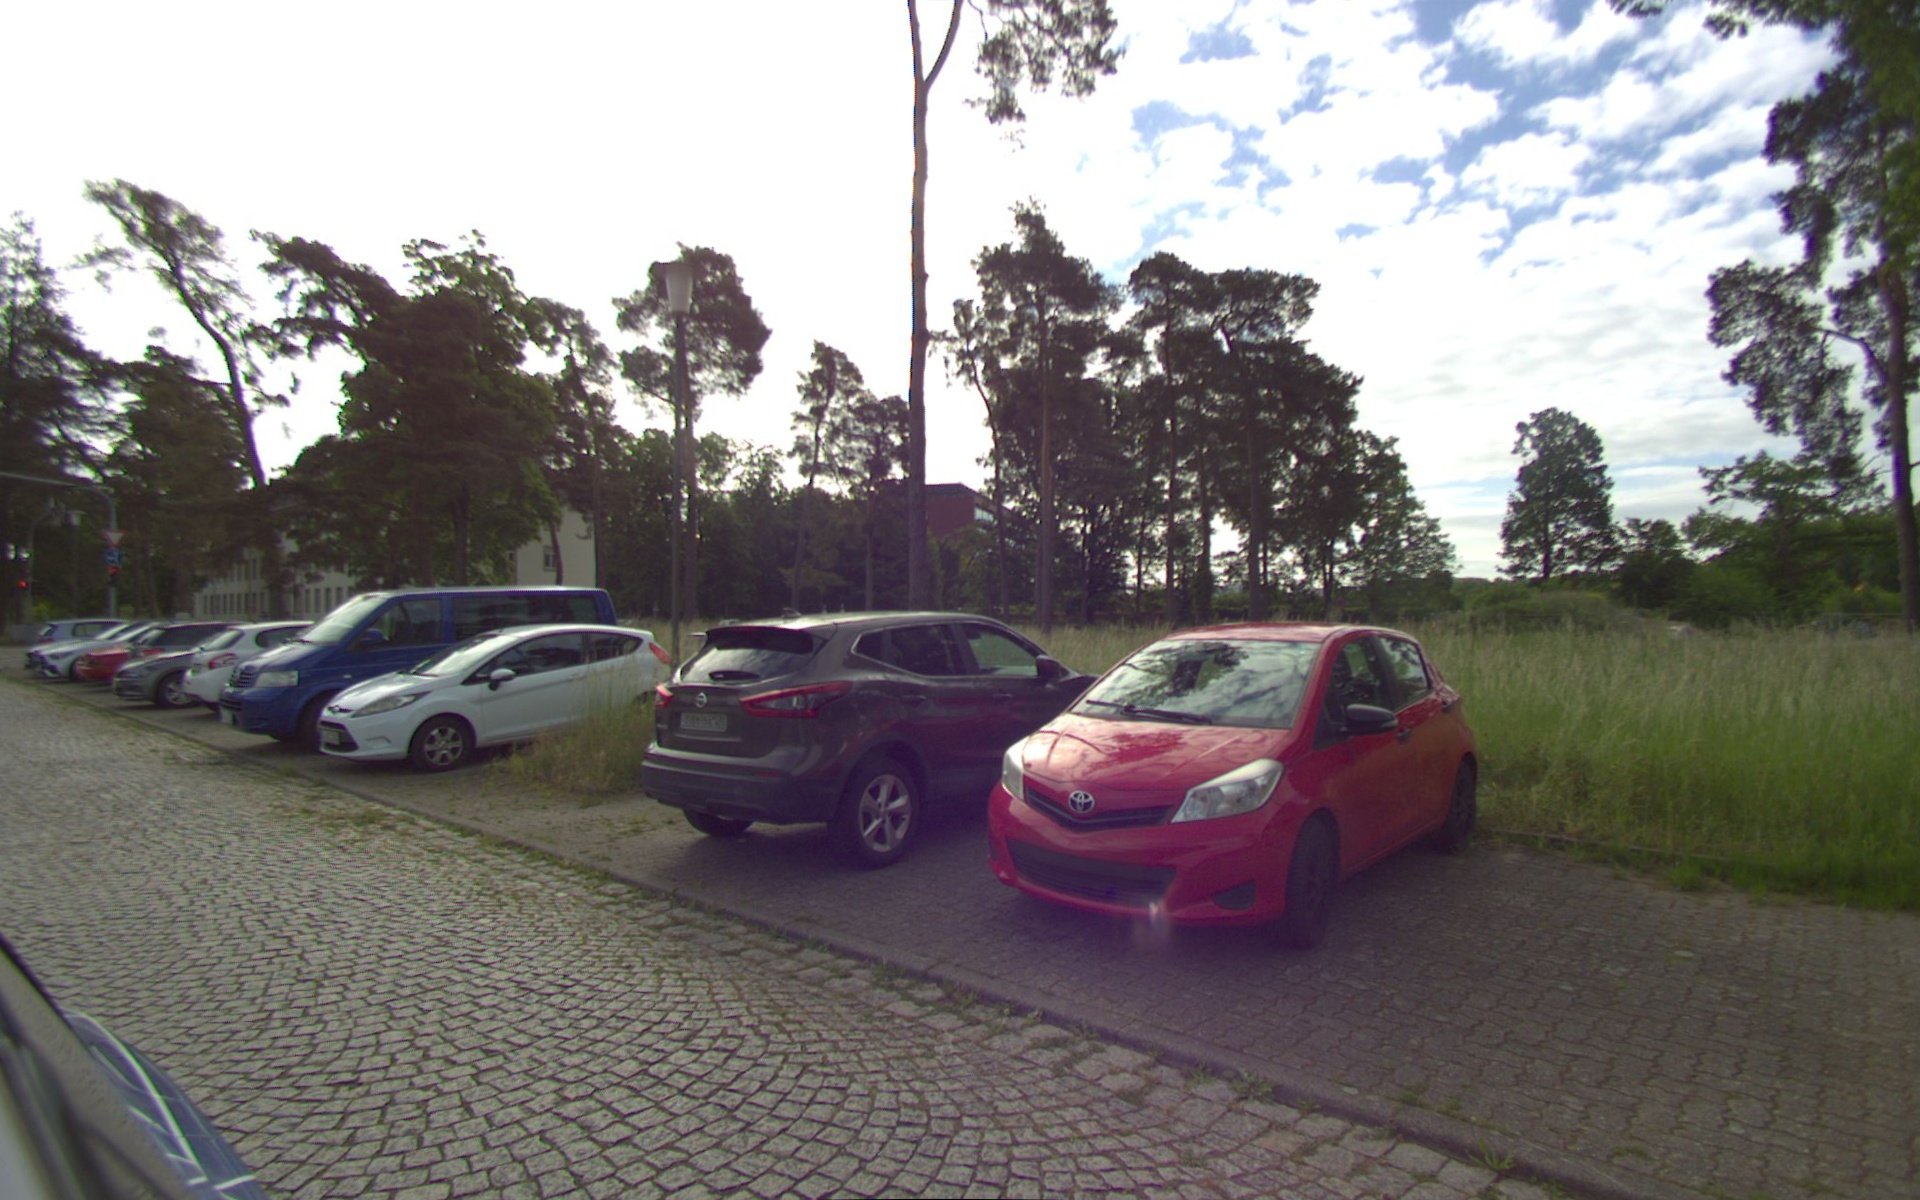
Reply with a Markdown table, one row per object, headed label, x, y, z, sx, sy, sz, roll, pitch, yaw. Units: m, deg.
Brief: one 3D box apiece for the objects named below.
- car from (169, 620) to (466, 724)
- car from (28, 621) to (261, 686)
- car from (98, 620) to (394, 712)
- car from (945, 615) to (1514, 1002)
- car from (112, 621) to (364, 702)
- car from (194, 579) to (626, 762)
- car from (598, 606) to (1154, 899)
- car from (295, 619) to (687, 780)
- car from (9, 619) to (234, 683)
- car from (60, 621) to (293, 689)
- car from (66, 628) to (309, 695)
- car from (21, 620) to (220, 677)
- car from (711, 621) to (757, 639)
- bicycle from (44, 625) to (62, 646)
| label | x | y | z | sx | sy | sz | roll | pitch | yaw |
| --- | --- | --- | --- | --- | --- | --- | --- | --- | --- |
| car | -10.831 | 1.125 | 17.256 | 1.843 | 1.513 | 3.961 | -2 | -1 | 43 |
| car | -20.727 | 1.287 | 25.863 | 1.949 | 1.466 | 4.389 | 0 | -1 | 42 |
| car | -13.193 | 1.136 | 18.907 | 1.731 | 1.492 | 4.257 | -2 | -1 | 43 |
| car | 1.822 | 0.852 | 5.978 | 1.760 | 1.497 | 3.776 | -2 | -1 | 41 |
| car | -15.011 | 1.205 | 21.205 | 1.755 | 1.492 | 4.044 | -2 | -1 | 42 |
| car | -7.094 | 0.802 | 13.489 | 2.037 | 1.995 | 4.661 | -2 | -1 | 41 |
| car | -0.393 | 0.859 | 7.678 | 1.953 | 1.587 | 4.026 | -2 | -1 | 40 |
| car | -5.249 | 0.997 | 11.699 | 1.724 | 1.504 | 3.756 | -1 | -1 | 39 |
| car | -22.754 | 1.310 | 27.623 | 1.868 | 1.548 | 4.458 | 0 | -1 | 38 |
| car | -18.851 | 1.258 | 24.504 | 1.854 | 1.466 | 4.209 | -2 | -1 | 41 |
| car | -17.239 | 1.314 | 22.727 | 1.763 | 1.293 | 4.088 | -2 | -1 | 41 |
| car | -24.489 | 1.357 | 29.629 | 1.827 | 1.481 | 4.282 | 0 | -1 | 42 |
| car | -21.620 | 2.820 | 97.070 | 1.718 | 1.622 | 3.998 | 1 | 0 | 45 |
| bicycle | -50.021 | 1.947 | 55.819 | 1.415 | 1.082 | 0.491 | -1 | 1 | 39 |
